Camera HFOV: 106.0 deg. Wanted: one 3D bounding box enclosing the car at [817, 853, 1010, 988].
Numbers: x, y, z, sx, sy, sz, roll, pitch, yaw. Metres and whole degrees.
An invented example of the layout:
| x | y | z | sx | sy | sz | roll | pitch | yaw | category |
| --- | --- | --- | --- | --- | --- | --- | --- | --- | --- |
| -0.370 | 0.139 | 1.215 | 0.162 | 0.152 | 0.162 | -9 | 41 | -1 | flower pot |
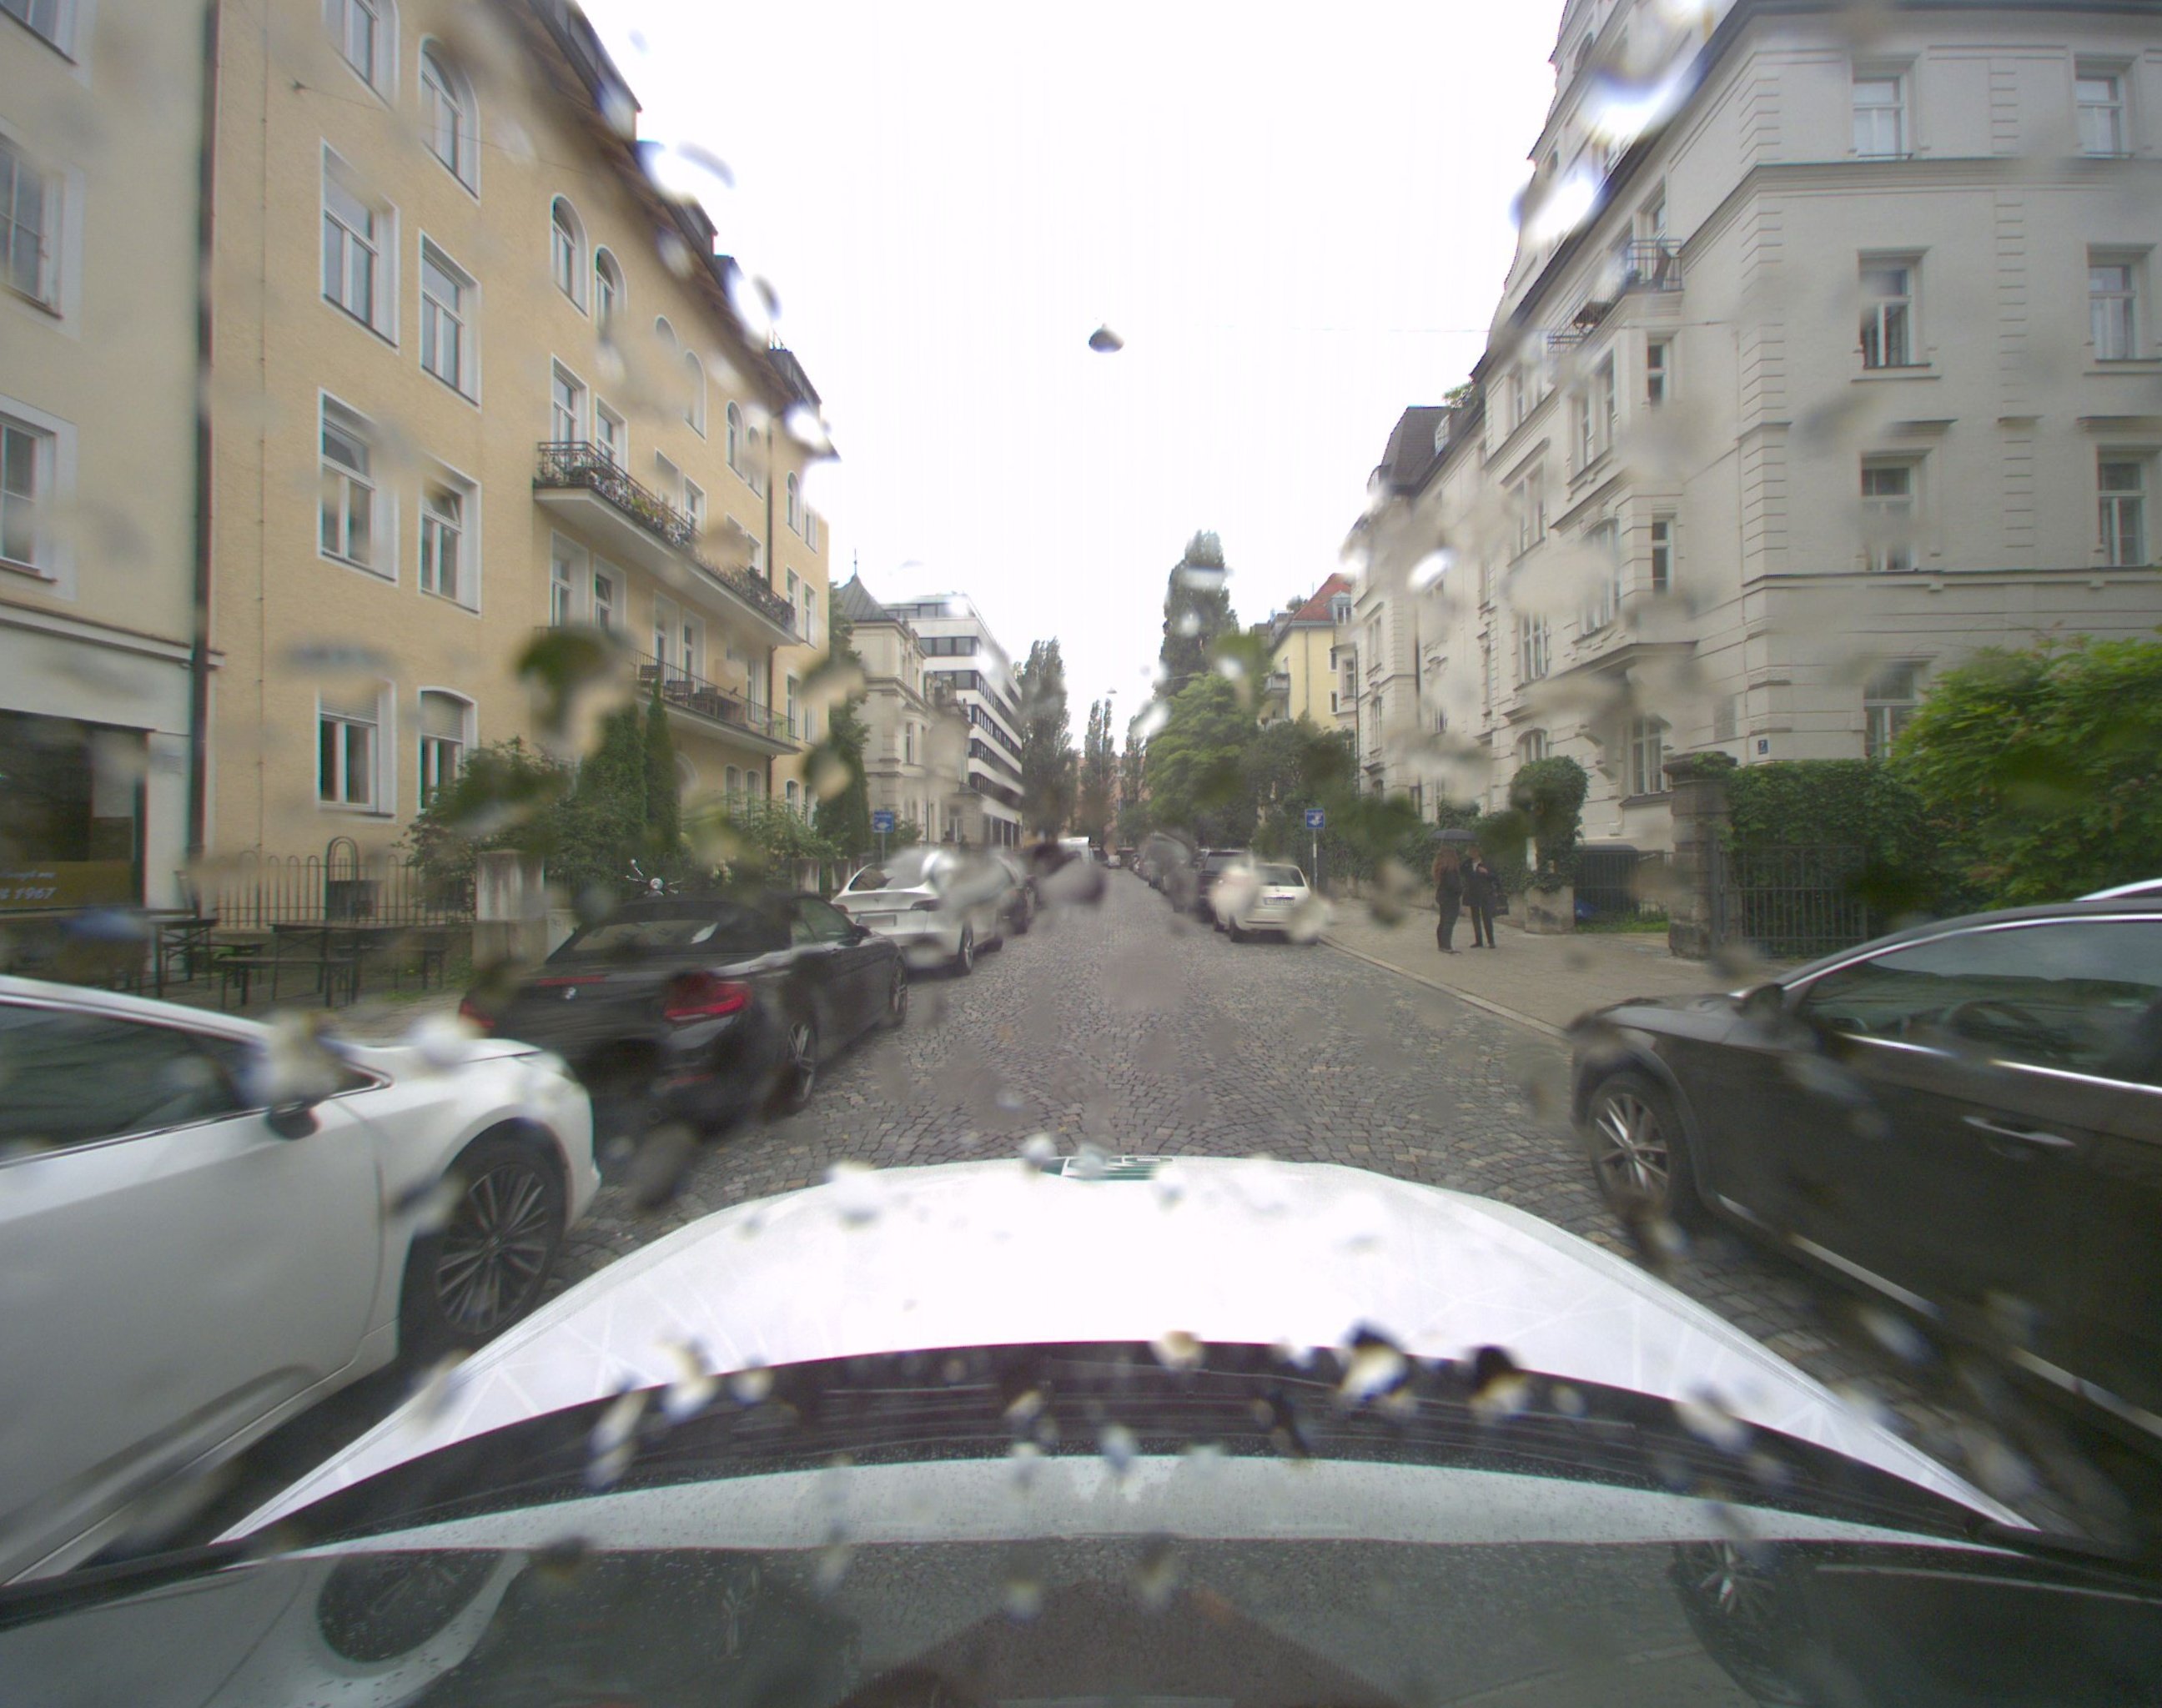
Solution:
| x | y | z | sx | sy | sz | roll | pitch | yaw | category |
| --- | --- | --- | --- | --- | --- | --- | --- | --- | --- |
| -2.266 | 0.847 | 12.255 | 1.766 | 1.647 | 4.394 | -1 | -1 | 3 | car |

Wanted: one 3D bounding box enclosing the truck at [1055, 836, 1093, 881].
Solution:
| x | y | z | sx | sy | sz | roll | pitch | yaw | category |
| --- | --- | --- | --- | --- | --- | --- | --- | --- | --- |
| -0.441 | 0.291 | 59.531 | 2.499 | 3.031 | 6.386 | -3 | 0 | 1 | truck |

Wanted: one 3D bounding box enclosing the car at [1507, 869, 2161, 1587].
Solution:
| x | y | z | sx | sy | sz | roll | pitch | yaw | category |
| --- | --- | --- | --- | --- | --- | --- | --- | --- | --- |
| 3.025 | 0.798 | 1.942 | 1.642 | 1.422 | 4.633 | 2 | -1 | 1 | car |

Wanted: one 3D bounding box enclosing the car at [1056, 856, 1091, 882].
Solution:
| x | y | z | sx | sy | sz | roll | pitch | yaw | category |
| --- | --- | --- | --- | --- | --- | --- | --- | --- | --- |
| -0.422 | 0.877 | 48.240 | 1.933 | 1.459 | 4.059 | -1 | -1 | 1 | car |

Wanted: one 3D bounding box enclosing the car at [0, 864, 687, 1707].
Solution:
| x | y | z | sx | sy | sz | roll | pitch | yaw | category |
| --- | --- | --- | --- | --- | --- | --- | --- | --- | --- |
| -2.736 | 0.816 | 1.357 | 1.767 | 1.536 | 4.543 | -2 | -1 | 2 | car |

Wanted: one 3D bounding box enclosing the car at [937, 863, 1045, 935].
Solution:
| x | y | z | sx | sy | sz | roll | pitch | yaw | category |
| --- | --- | --- | --- | --- | --- | --- | --- | --- | --- |
| -1.887 | 0.917 | 18.381 | 1.767 | 1.429 | 4.393 | -1 | -1 | 2 | car |

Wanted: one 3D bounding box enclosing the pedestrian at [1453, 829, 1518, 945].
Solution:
| x | y | z | sx | sy | sz | roll | pitch | yaw | category |
| --- | --- | --- | --- | --- | --- | --- | --- | --- | --- |
| 6.503 | 0.510 | 13.110 | 0.630 | 1.808 | 0.655 | 0 | -1 | -21 | pedestrian |

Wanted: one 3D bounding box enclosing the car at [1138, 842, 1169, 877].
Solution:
| x | y | z | sx | sy | sz | roll | pitch | yaw | category |
| --- | --- | --- | --- | --- | --- | --- | --- | --- | --- |
| 5.335 | 0.364 | 60.732 | 1.888 | 2.426 | 5.613 | 3 | 0 | 2 | car |

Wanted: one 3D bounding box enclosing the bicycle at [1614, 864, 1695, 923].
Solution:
| x | y | z | sx | sy | sz | roll | pitch | yaw | category |
| --- | --- | --- | --- | --- | --- | --- | --- | --- | --- |
| 10.672 | 0.702 | 15.213 | 0.392 | 1.042 | 1.484 | 0 | -1 | -3 | bicycle |

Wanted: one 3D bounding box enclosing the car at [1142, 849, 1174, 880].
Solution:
| x | y | z | sx | sy | sz | roll | pitch | yaw | category |
| --- | --- | --- | --- | --- | --- | --- | --- | --- | --- |
| 5.161 | 0.726 | 54.904 | 1.793 | 1.949 | 4.862 | 2 | -1 | 2 | car |

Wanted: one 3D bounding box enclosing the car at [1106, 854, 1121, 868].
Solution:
| x | y | z | sx | sy | sz | roll | pitch | yaw | category |
| --- | --- | --- | --- | --- | --- | --- | --- | --- | --- |
| 4.495 | 0.950 | 112.794 | 1.988 | 1.936 | 4.004 | -1 | -1 | 4 | car |

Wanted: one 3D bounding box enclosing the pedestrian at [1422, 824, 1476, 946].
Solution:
| x | y | z | sx | sy | sz | roll | pitch | yaw | category |
| --- | --- | --- | --- | --- | --- | --- | --- | --- | --- |
| 5.745 | 0.473 | 12.742 | 0.572 | 1.850 | 0.683 | -1 | -1 | 9 | pedestrian |

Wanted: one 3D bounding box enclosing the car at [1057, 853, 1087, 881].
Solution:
| x | y | z | sx | sy | sz | roll | pitch | yaw | category |
| --- | --- | --- | --- | --- | --- | --- | --- | --- | --- |
| -0.551 | 0.848 | 53.517 | 1.887 | 1.751 | 4.168 | -1 | 0 | 1 | car |

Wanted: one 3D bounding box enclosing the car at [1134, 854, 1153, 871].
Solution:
| x | y | z | sx | sy | sz | roll | pitch | yaw | category |
| --- | --- | --- | --- | --- | --- | --- | --- | --- | --- |
| 5.586 | 0.757 | 73.219 | 1.594 | 1.486 | 3.480 | -1 | -1 | 2 | car |

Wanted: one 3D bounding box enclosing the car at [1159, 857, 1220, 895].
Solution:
| x | y | z | sx | sy | sz | roll | pitch | yaw | category |
| --- | --- | --- | --- | --- | --- | --- | --- | --- | --- |
| 4.252 | 0.847 | 32.619 | 1.769 | 1.429 | 4.388 | -1 | -1 | -1 | car |

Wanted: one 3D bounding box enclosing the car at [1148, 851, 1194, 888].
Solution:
| x | y | z | sx | sy | sz | roll | pitch | yaw | category |
| --- | --- | --- | --- | --- | --- | --- | --- | --- | --- |
| 4.576 | 0.787 | 42.161 | 1.956 | 1.759 | 4.955 | -1 | -1 | 2 | car |

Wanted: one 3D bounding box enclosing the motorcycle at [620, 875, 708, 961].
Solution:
| x | y | z | sx | sy | sz | roll | pitch | yaw | category |
| --- | --- | --- | --- | --- | --- | --- | --- | --- | --- |
| -6.270 | 0.923 | 12.325 | 0.489 | 1.194 | 1.580 | -1 | -1 | 2 | motorcycle |

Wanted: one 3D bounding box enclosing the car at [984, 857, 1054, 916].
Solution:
| x | y | z | sx | sy | sz | roll | pitch | yaw | category |
| --- | --- | --- | --- | --- | --- | --- | --- | --- | --- |
| -1.816 | 0.934 | 24.874 | 1.573 | 1.590 | 4.058 | -3 | -1 | 3 | car |

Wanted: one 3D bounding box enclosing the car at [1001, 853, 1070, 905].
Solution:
| x | y | z | sx | sy | sz | roll | pitch | yaw | category |
| --- | --- | --- | --- | --- | --- | --- | --- | --- | --- |
| -1.577 | 0.833 | 29.898 | 1.974 | 1.737 | 4.726 | -1 | 0 | 3 | car |

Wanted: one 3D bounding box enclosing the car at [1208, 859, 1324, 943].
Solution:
| x | y | z | sx | sy | sz | roll | pitch | yaw | category |
| --- | --- | --- | --- | --- | --- | --- | --- | --- | --- |
| 3.609 | 0.862 | 16.439 | 1.624 | 1.469 | 3.661 | 1 | -1 | 2 | car |

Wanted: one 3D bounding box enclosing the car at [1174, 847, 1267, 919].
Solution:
| x | y | z | sx | sy | sz | roll | pitch | yaw | category |
| --- | --- | --- | --- | --- | --- | --- | --- | --- | --- |
| 3.573 | 0.703 | 21.811 | 1.867 | 1.673 | 5.496 | -1 | -1 | 4 | car |

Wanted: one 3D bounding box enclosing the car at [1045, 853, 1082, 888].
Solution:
| x | y | z | sx | sy | sz | roll | pitch | yaw | category |
| --- | --- | --- | --- | --- | --- | --- | --- | --- | --- |
| -0.871 | 0.841 | 42.999 | 1.767 | 1.718 | 4.392 | -1 | -1 | 1 | car |

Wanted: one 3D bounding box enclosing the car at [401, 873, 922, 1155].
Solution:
| x | y | z | sx | sy | sz | roll | pitch | yaw | category |
| --- | --- | --- | --- | --- | --- | --- | --- | --- | --- |
| -2.569 | 0.866 | 6.359 | 1.768 | 1.359 | 4.390 | -1 | -1 | 0 | car |

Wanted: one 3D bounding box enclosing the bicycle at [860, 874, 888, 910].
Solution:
| x | y | z | sx | sy | sz | roll | pitch | yaw | category |
| --- | --- | --- | --- | --- | --- | --- | --- | --- | --- |
| -6.101 | 1.102 | 24.056 | 0.350 | 1.003 | 1.574 | -1 | -1 | 4 | bicycle |

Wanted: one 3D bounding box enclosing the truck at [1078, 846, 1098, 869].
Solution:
| x | y | z | sx | sy | sz | roll | pitch | yaw | category |
| --- | --- | --- | --- | --- | --- | --- | --- | --- | --- |
| 0.786 | 0.385 | 88.317 | 1.986 | 2.347 | 4.070 | -1 | -1 | 2 | truck |

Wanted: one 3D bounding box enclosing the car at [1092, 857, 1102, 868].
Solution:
| x | y | z | sx | sy | sz | roll | pitch | yaw | category |
| --- | --- | --- | --- | --- | --- | --- | --- | --- | --- |
| 2.273 | 1.187 | 114.139 | 1.271 | 1.541 | 3.120 | -1 | -1 | 2 | car |
